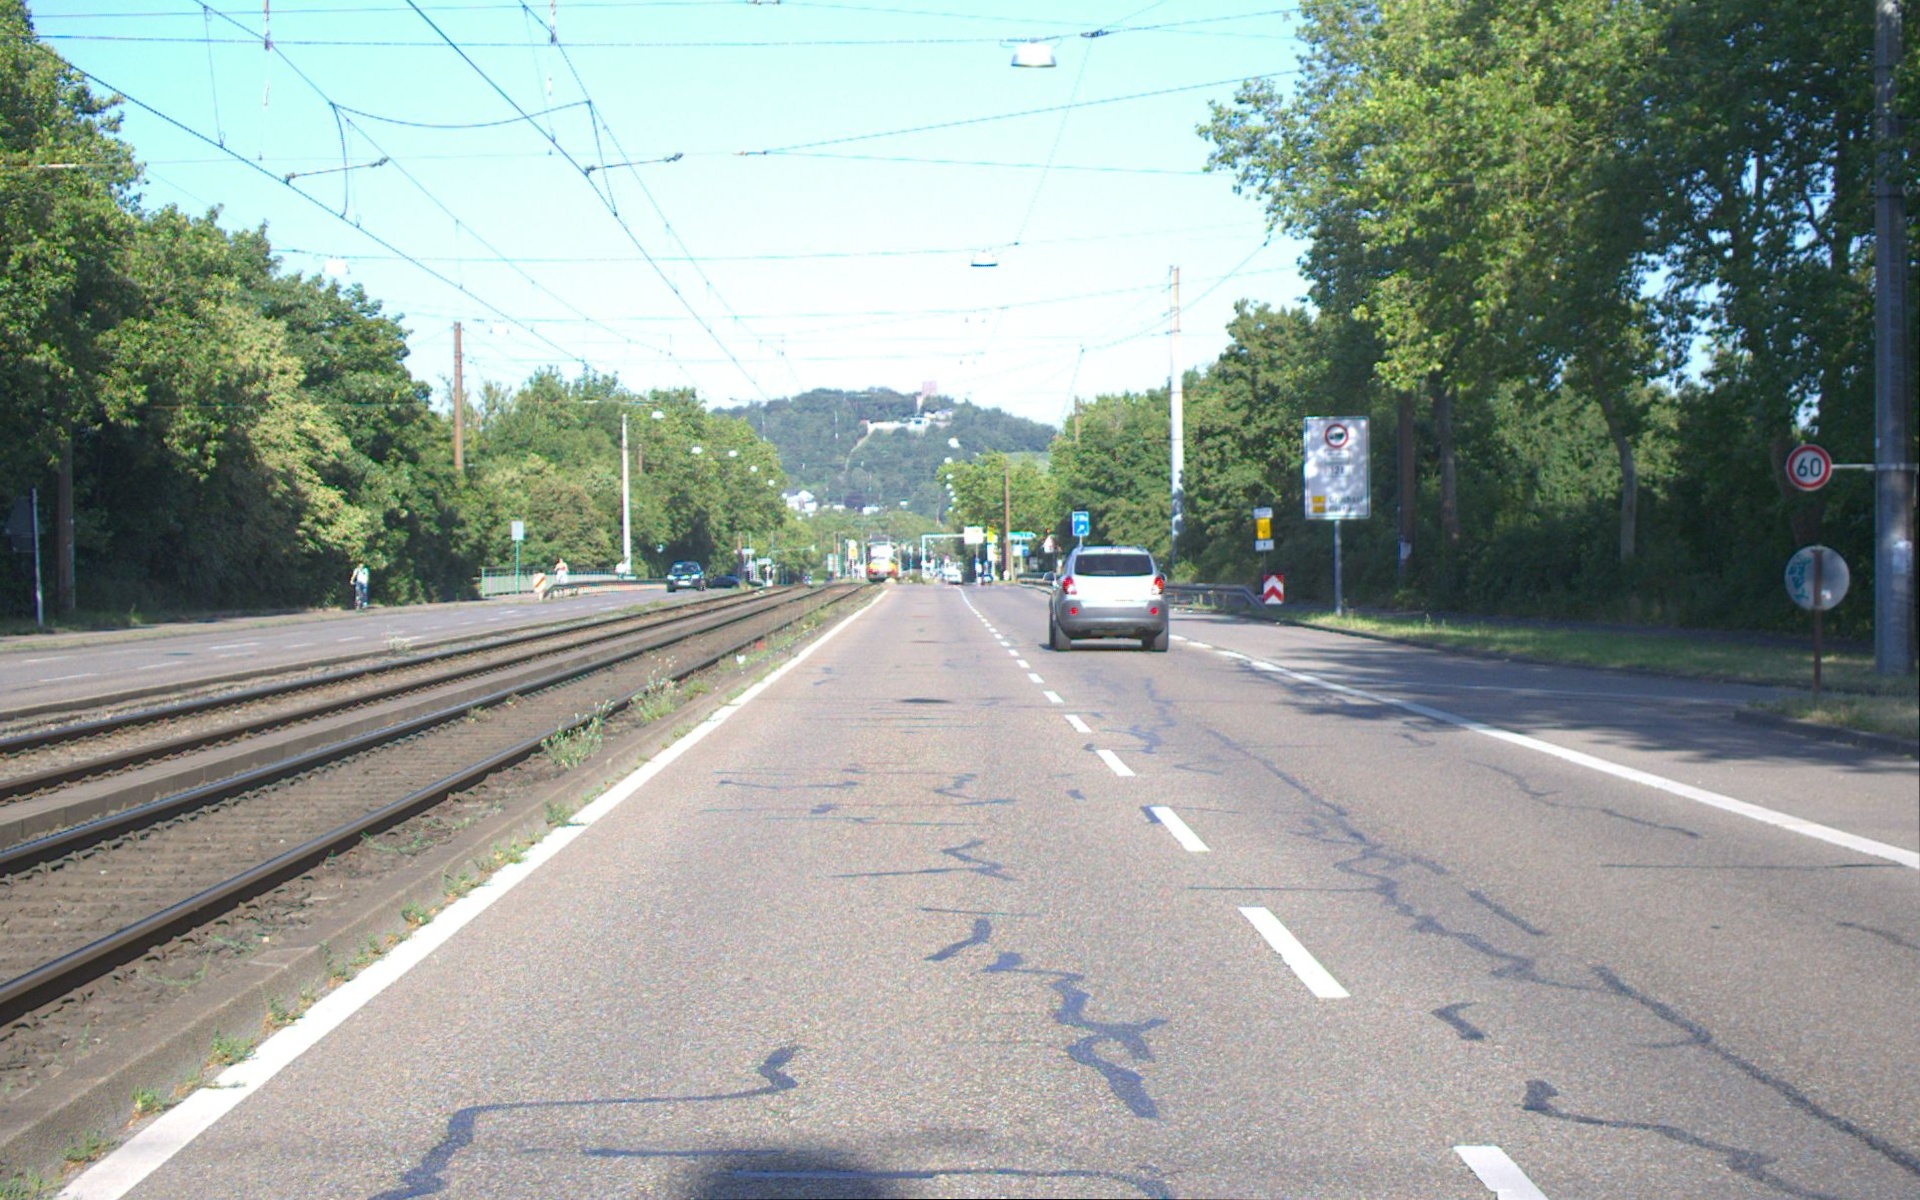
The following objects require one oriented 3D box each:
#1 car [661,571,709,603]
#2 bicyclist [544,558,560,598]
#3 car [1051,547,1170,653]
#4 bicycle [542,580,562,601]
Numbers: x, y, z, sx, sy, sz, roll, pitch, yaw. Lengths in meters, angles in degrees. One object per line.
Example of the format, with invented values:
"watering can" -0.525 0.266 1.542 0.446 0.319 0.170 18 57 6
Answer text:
"car" -15.206 -0.704 190.271 1.994 1.680 4.795 -2 0 3
"bicyclist" -17.291 -0.940 145.703 0.507 1.681 0.919 1 0 2
"car" 2.463 -0.010 56.862 1.888 1.688 4.256 0 0 2
"bicycle" -17.297 -0.395 145.725 0.507 0.889 2.027 1 0 2
